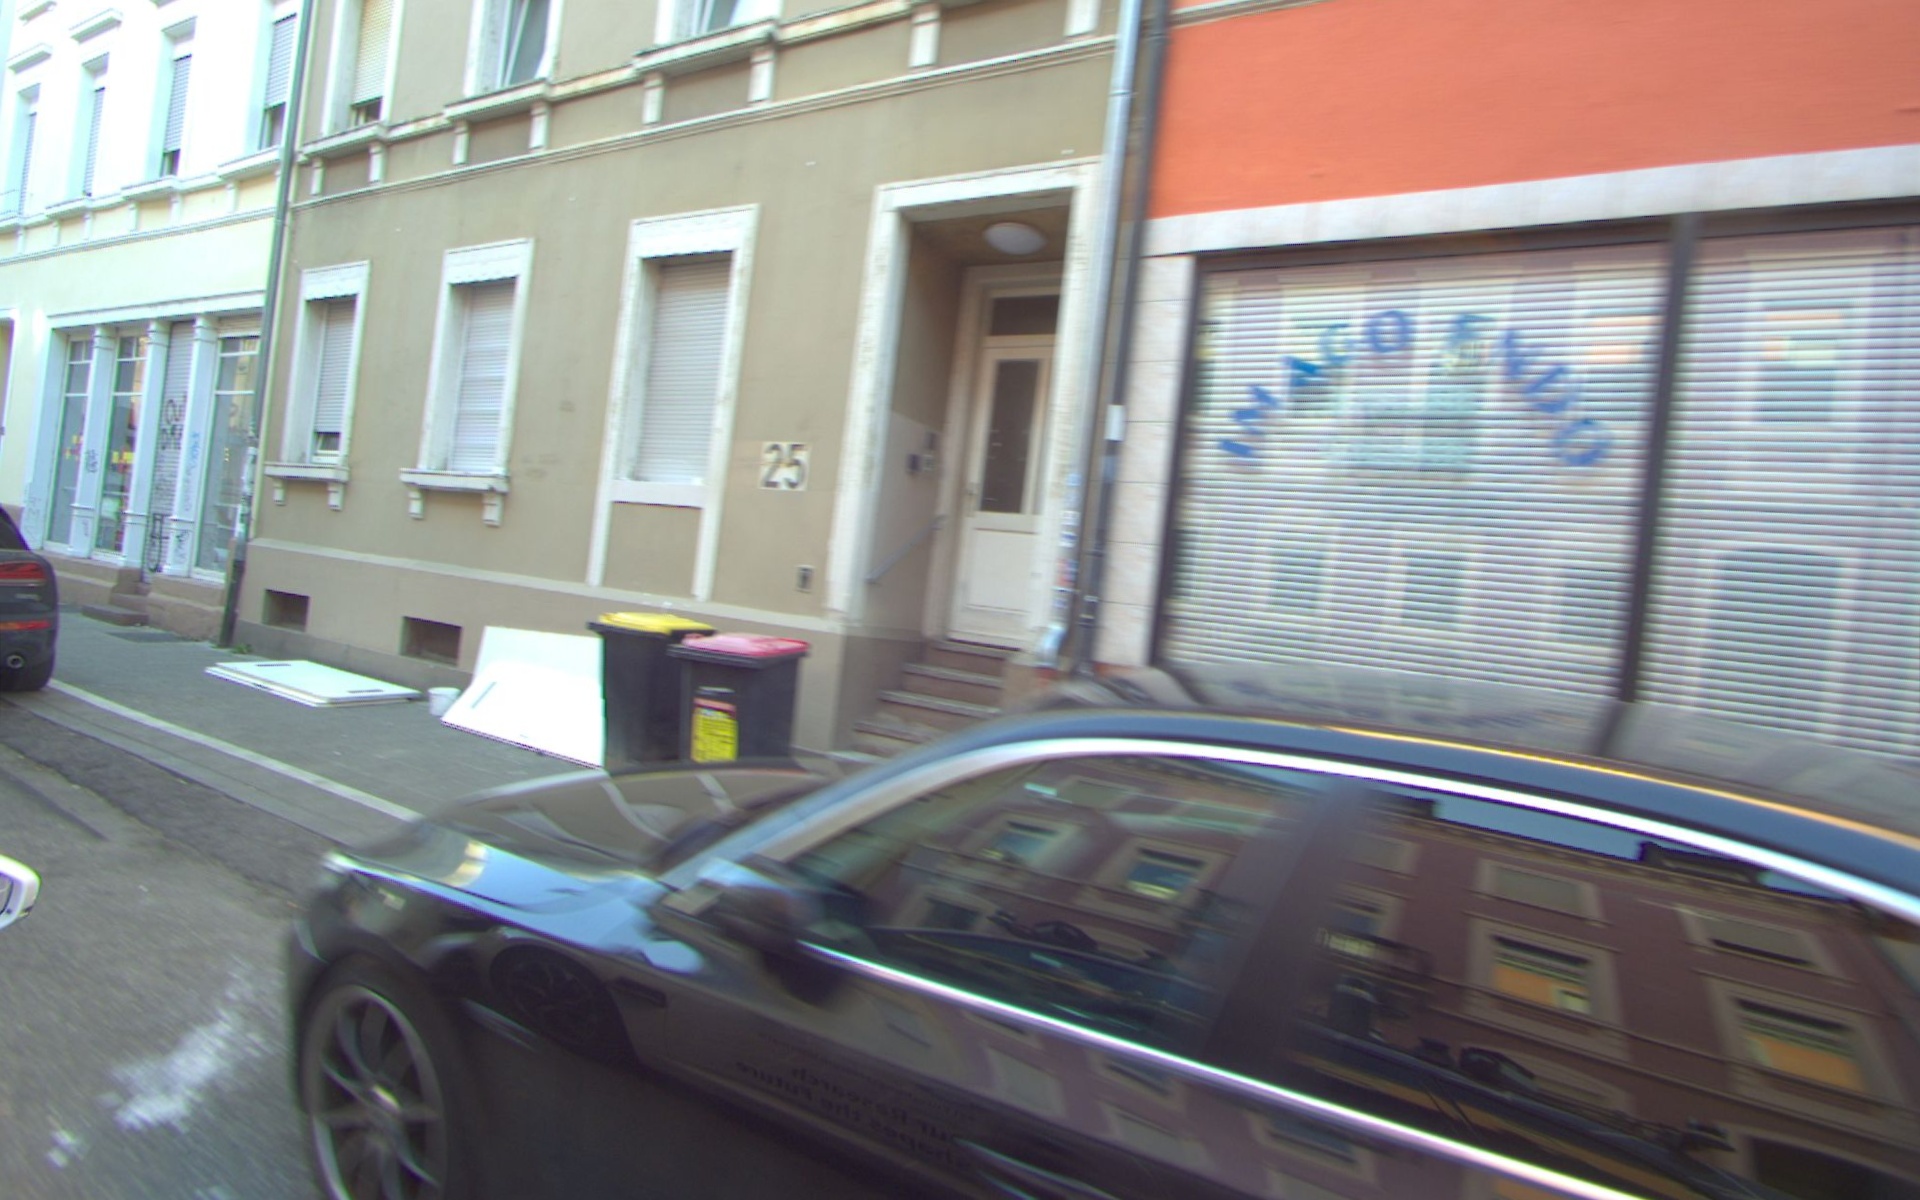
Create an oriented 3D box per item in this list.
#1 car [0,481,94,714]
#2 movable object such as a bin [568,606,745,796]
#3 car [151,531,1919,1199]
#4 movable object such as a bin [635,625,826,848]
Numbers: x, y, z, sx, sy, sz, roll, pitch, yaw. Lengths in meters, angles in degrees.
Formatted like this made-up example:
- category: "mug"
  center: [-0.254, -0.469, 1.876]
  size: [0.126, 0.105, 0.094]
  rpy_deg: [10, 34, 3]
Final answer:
- category: "car"
  center: [-8.239, -0.207, 7.268]
  size: [3.933, 1.541, 1.818]
  rpy_deg: [6, 1, 31]
- category: "movable object such as a bin"
  center: [-1.972, 0.626, 6.568]
  size: [0.667, 1.090, 0.806]
  rpy_deg: [7, 3, 36]
- category: "car"
  center: [0.465, 0.806, 2.115]
  size: [4.710, 1.457, 1.818]
  rpy_deg: [6, 1, 31]
- category: "movable object such as a bin"
  center: [-1.276, 0.718, 5.668]
  size: [0.665, 1.090, 0.737]
  rpy_deg: [6, 2, 24]
